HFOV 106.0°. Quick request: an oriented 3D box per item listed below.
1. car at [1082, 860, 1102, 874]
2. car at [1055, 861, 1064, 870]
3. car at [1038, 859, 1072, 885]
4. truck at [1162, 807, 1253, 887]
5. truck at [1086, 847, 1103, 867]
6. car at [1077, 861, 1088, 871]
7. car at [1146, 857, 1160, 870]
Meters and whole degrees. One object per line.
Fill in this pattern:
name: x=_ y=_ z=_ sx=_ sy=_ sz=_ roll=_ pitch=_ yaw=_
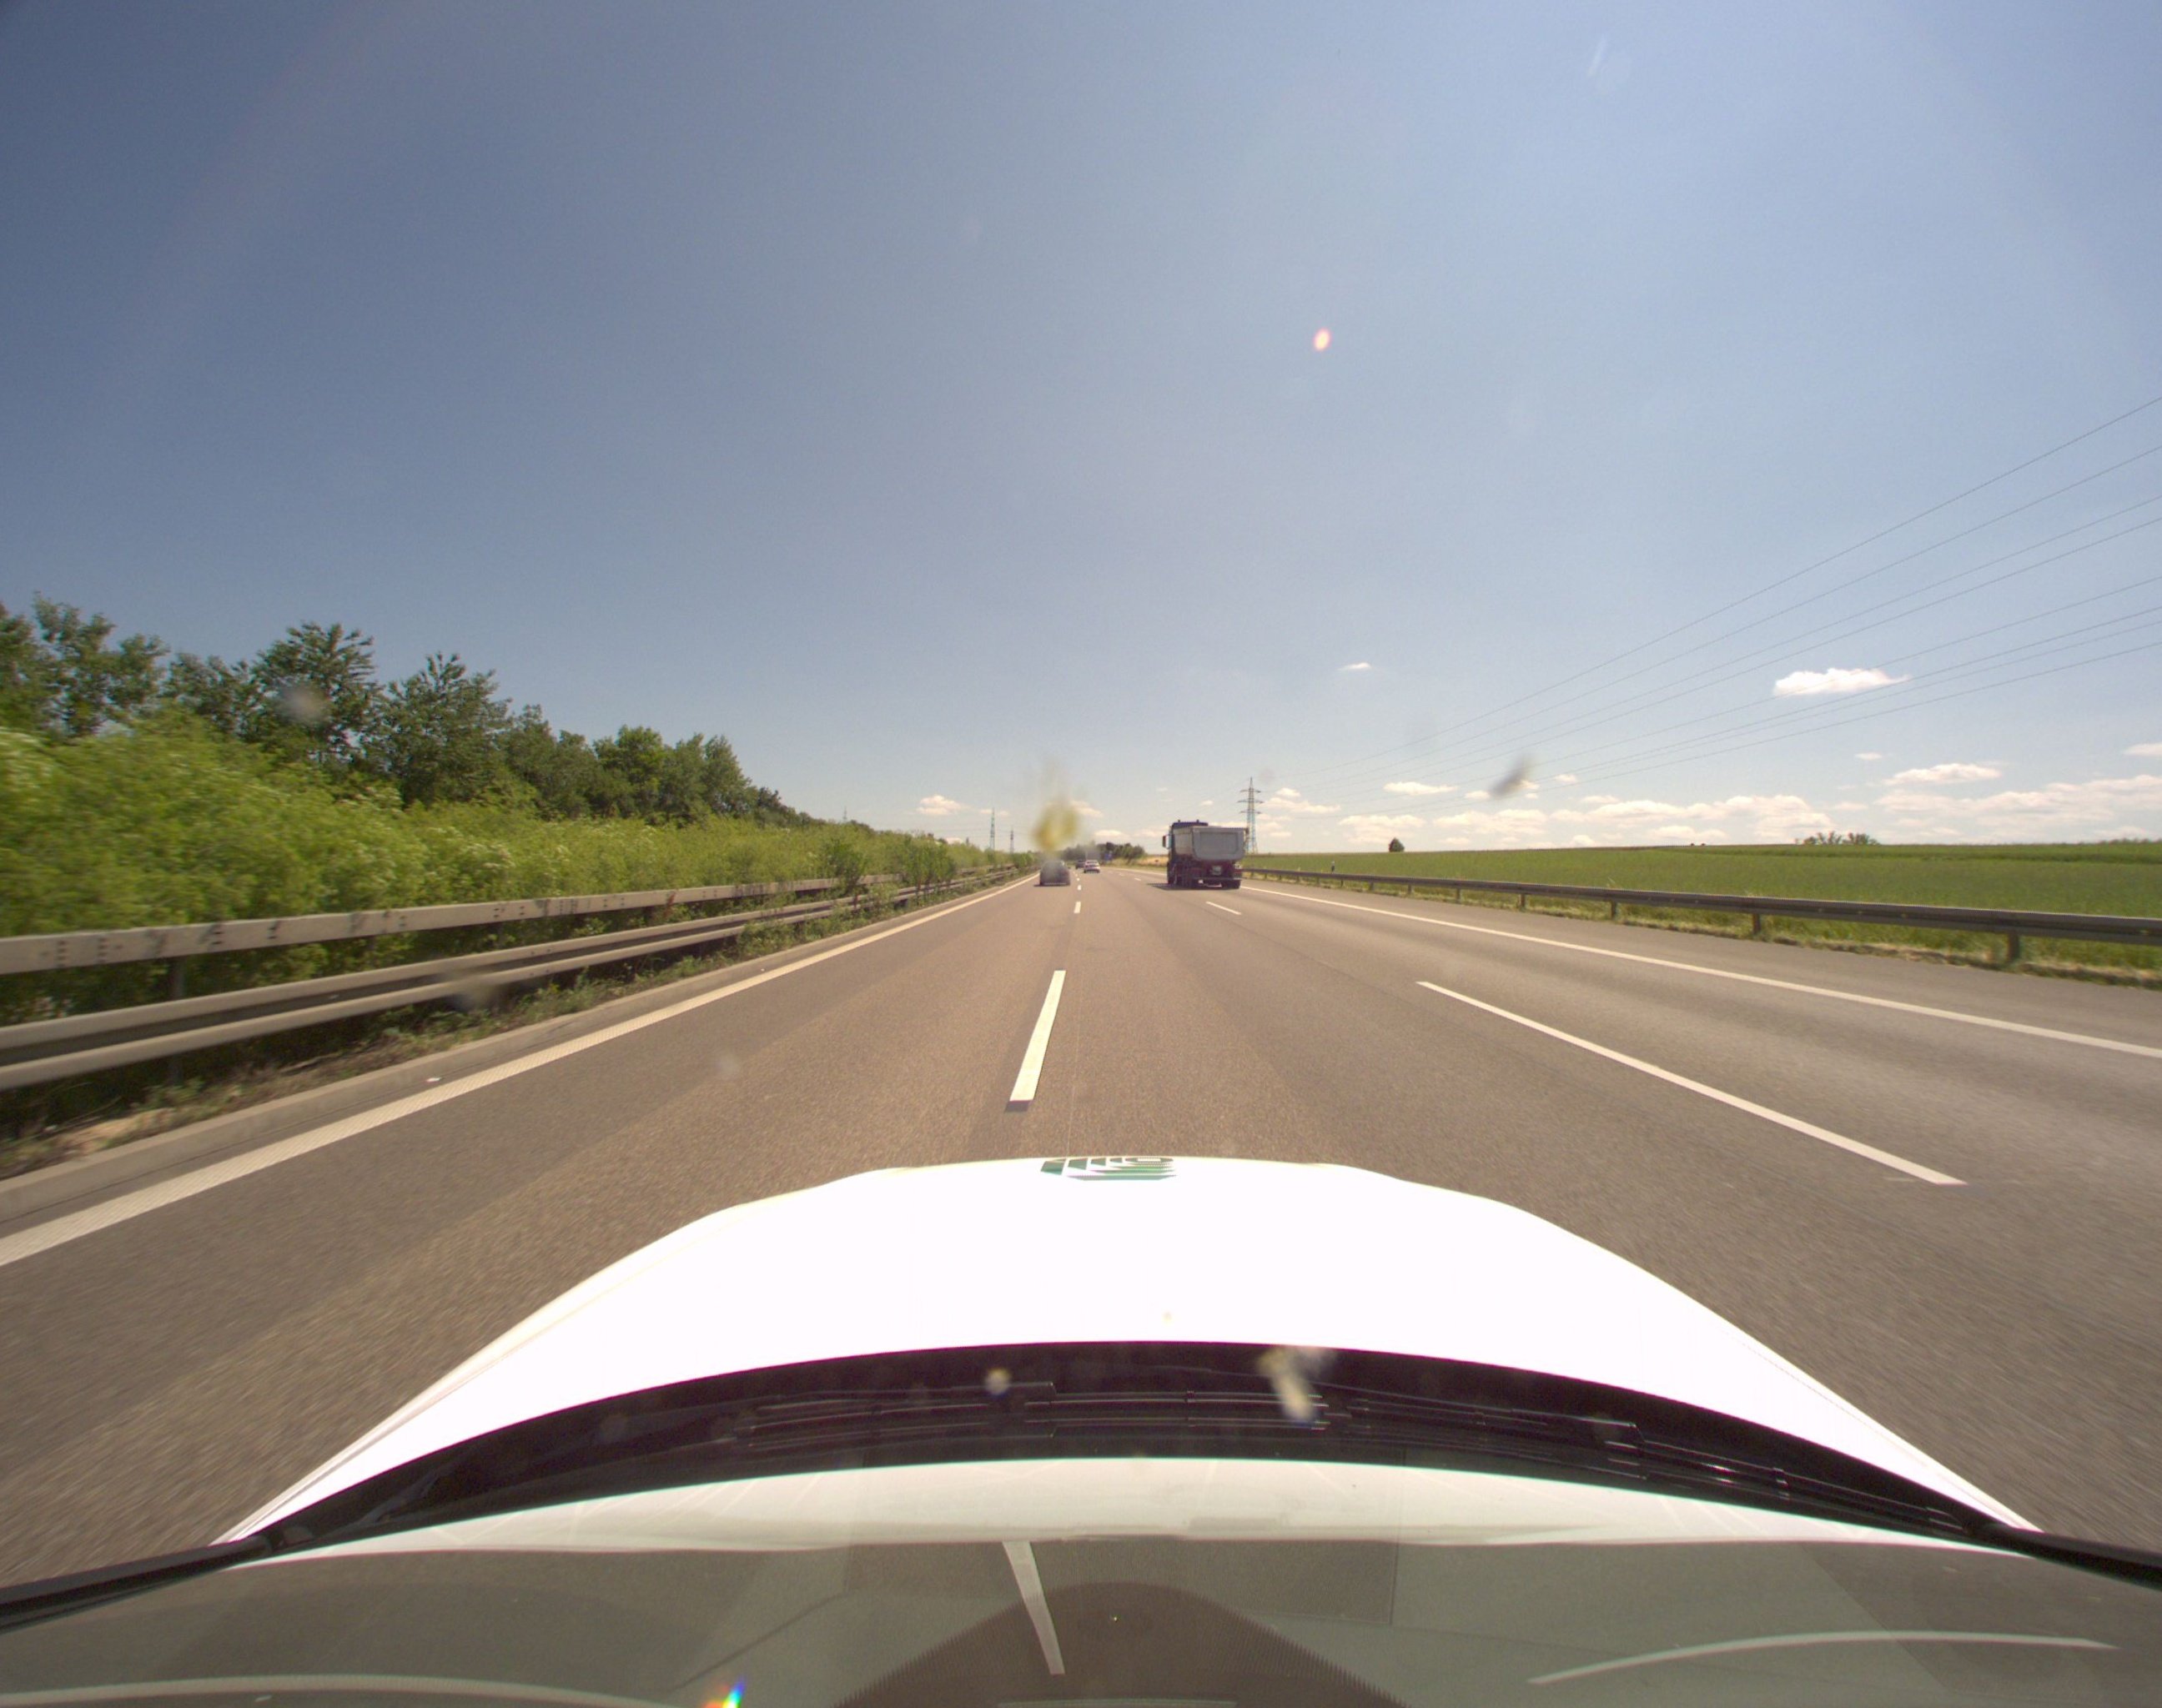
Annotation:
car: x=1.258 y=1.519 z=93.552 sx=1.817 sy=1.541 sz=3.906 roll=-1 pitch=-1 yaw=-6
car: x=-4.721 y=2.406 z=175.531 sx=1.897 sy=1.926 sz=3.996 roll=-1 pitch=-1 yaw=-2
car: x=-1.506 y=1.035 z=48.257 sx=1.750 sy=1.429 sz=4.001 roll=-1 pitch=-1 yaw=1
truck: x=6.605 y=-0.276 z=44.886 sx=2.856 sy=3.724 sz=12.758 roll=-1 pitch=-1 yaw=-1
truck: x=2.624 y=0.637 z=163.116 sx=3.211 sy=3.924 sz=9.056 roll=0 pitch=-1 yaw=-1
car: x=0.260 y=1.918 z=134.099 sx=1.833 sy=1.541 sz=3.913 roll=-1 pitch=-1 yaw=-1
car: x=10.725 y=1.352 z=121.407 sx=1.986 sy=1.853 sz=4.002 roll=-1 pitch=-1 yaw=2
